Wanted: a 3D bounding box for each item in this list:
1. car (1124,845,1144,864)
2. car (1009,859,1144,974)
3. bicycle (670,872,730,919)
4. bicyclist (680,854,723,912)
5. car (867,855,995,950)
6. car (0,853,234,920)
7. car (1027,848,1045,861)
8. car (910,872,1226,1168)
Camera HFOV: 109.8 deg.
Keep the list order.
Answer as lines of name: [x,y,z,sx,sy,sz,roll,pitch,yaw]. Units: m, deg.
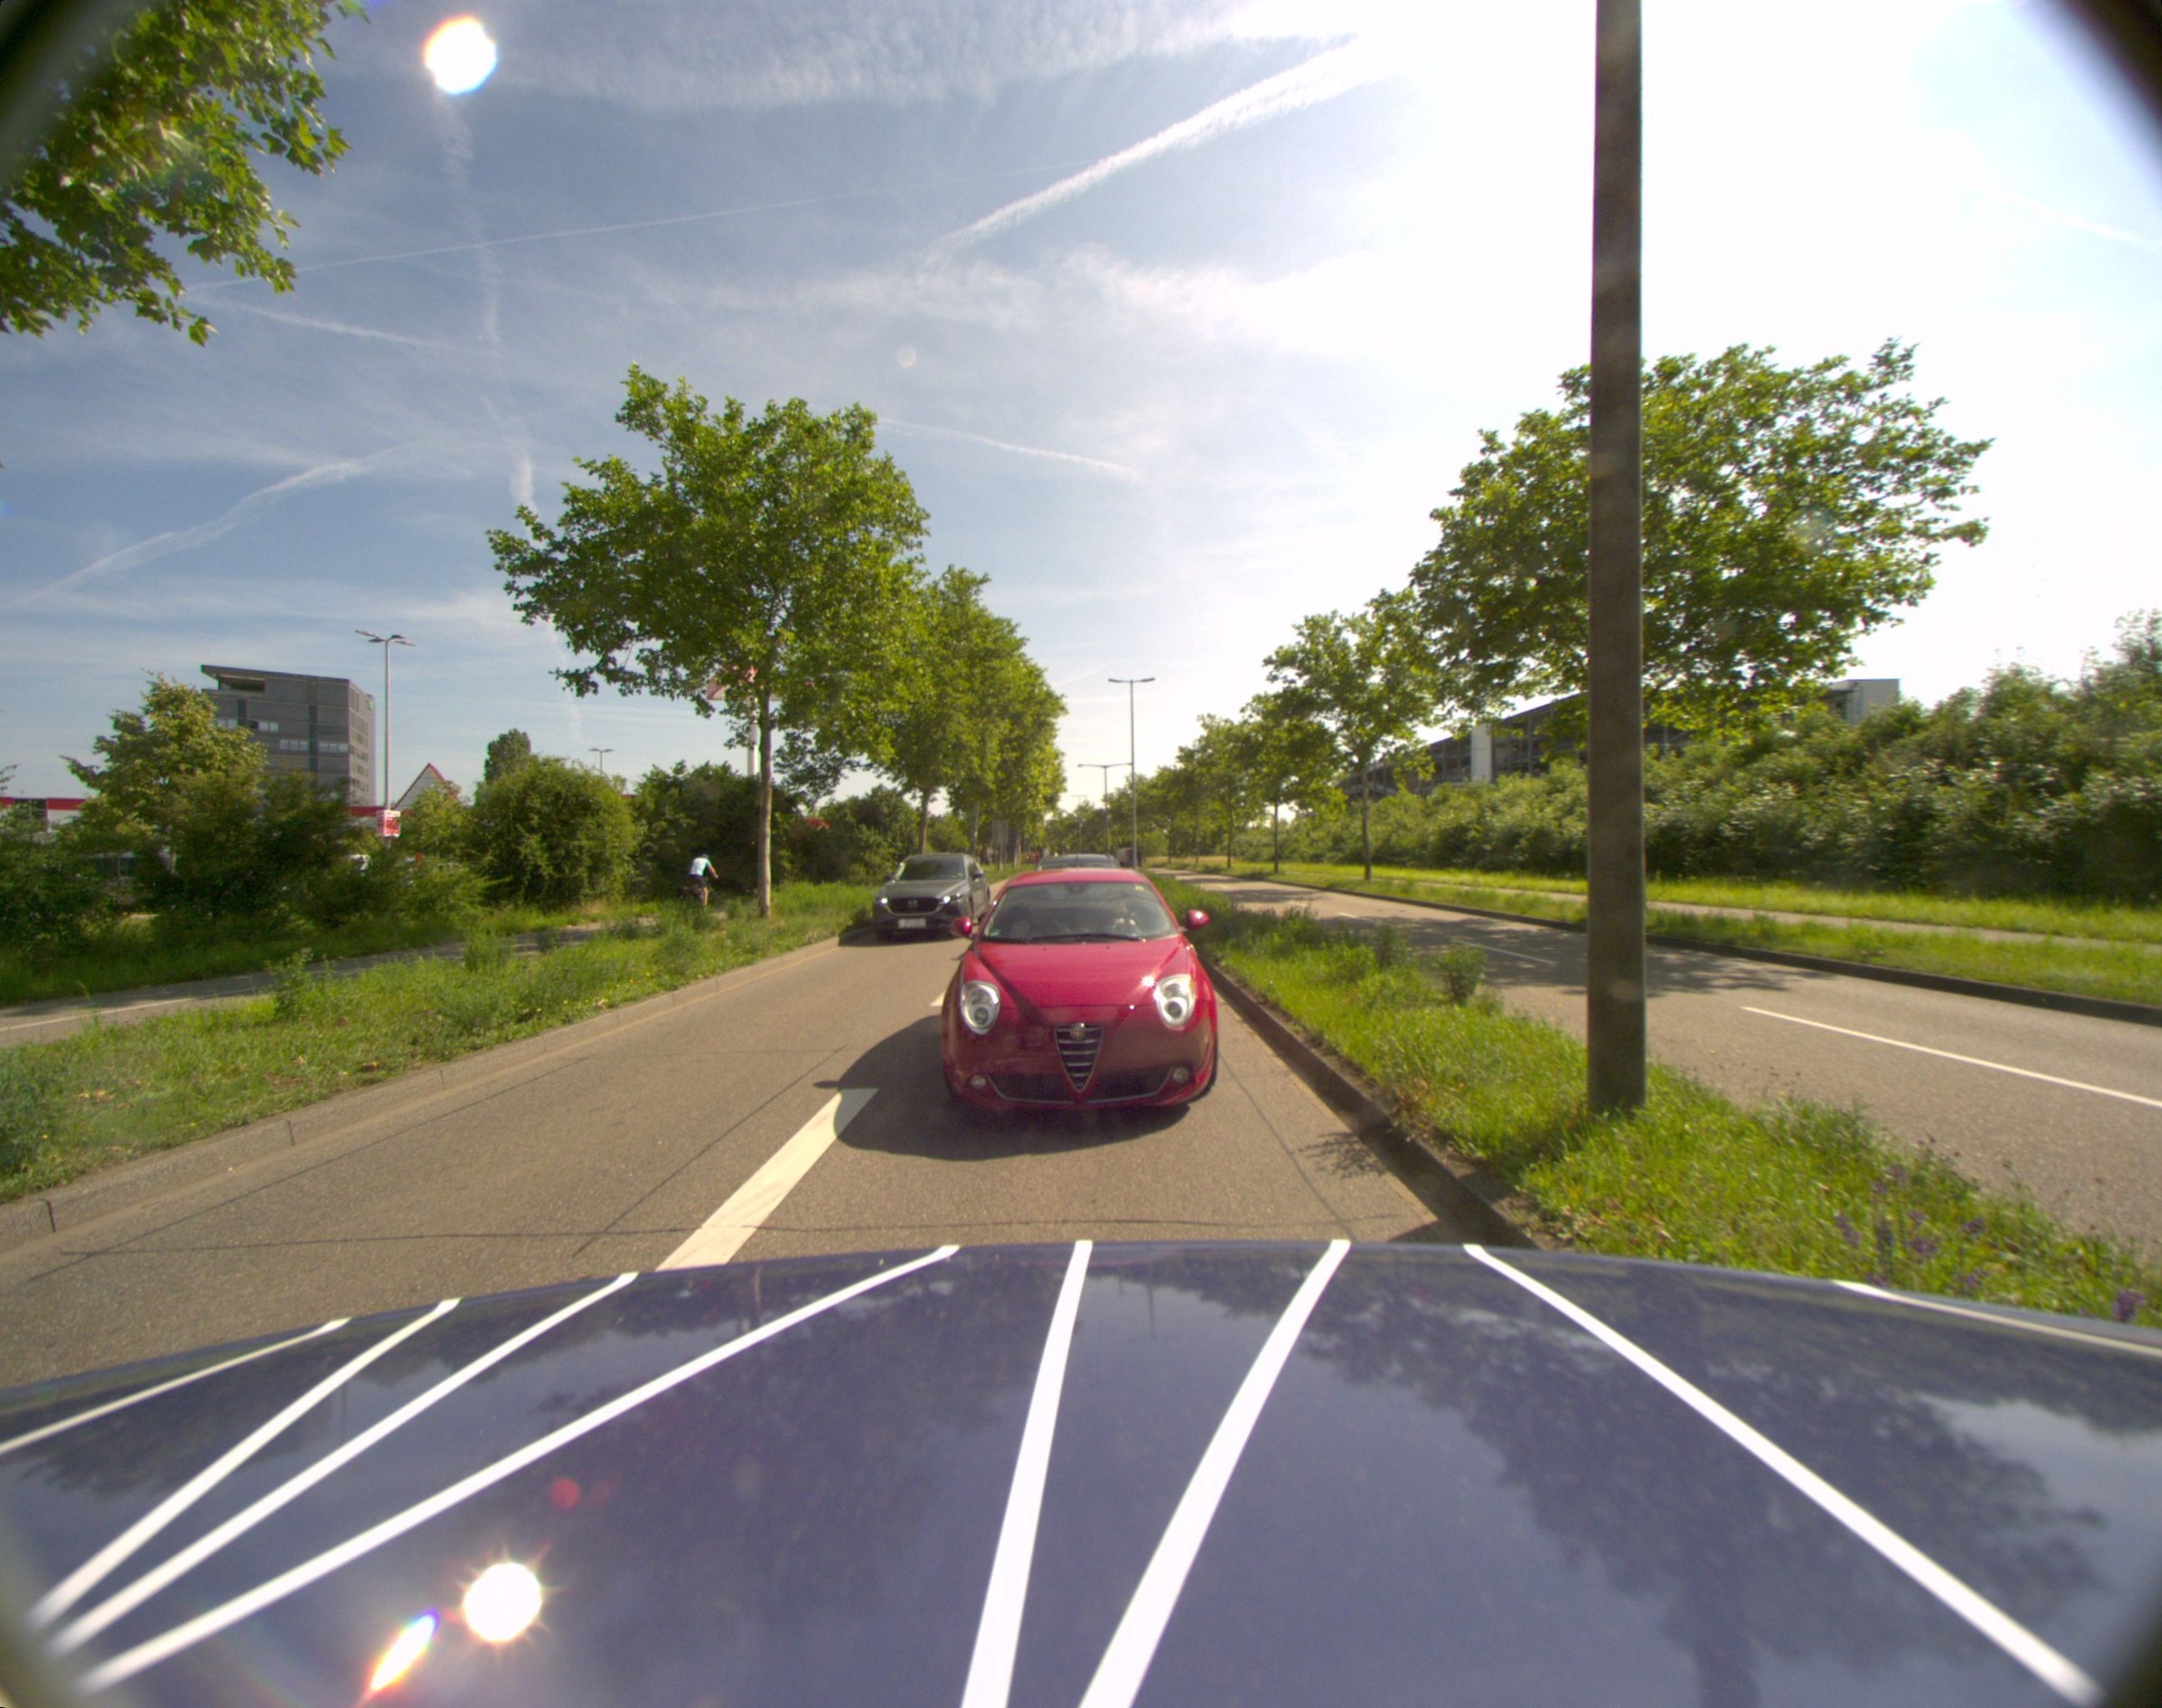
car: [6.753,0.035,97.414,2.064,2.396,5.537,0,0,-2]
car: [-0.033,0.895,12.687,1.874,1.536,4.081,-1,0,1]
bicycle: [-10.840,1.160,21.696,0.687,1.230,1.934,0,1,1]
bicyclist: [-10.839,0.810,21.716,0.687,1.622,1.002,0,1,1]
car: [-3.018,0.895,16.230,1.770,1.649,4.495,-2,0,0]
car: [-25.076,0.775,19.693,3.870,1.576,1.844,-1,1,-38]
car: [-8.962,0.075,150.428,2.067,2.396,5.995,0,0,-20]
car: [-0.043,0.950,6.067,1.658,1.430,3.908,-2,0,1]
